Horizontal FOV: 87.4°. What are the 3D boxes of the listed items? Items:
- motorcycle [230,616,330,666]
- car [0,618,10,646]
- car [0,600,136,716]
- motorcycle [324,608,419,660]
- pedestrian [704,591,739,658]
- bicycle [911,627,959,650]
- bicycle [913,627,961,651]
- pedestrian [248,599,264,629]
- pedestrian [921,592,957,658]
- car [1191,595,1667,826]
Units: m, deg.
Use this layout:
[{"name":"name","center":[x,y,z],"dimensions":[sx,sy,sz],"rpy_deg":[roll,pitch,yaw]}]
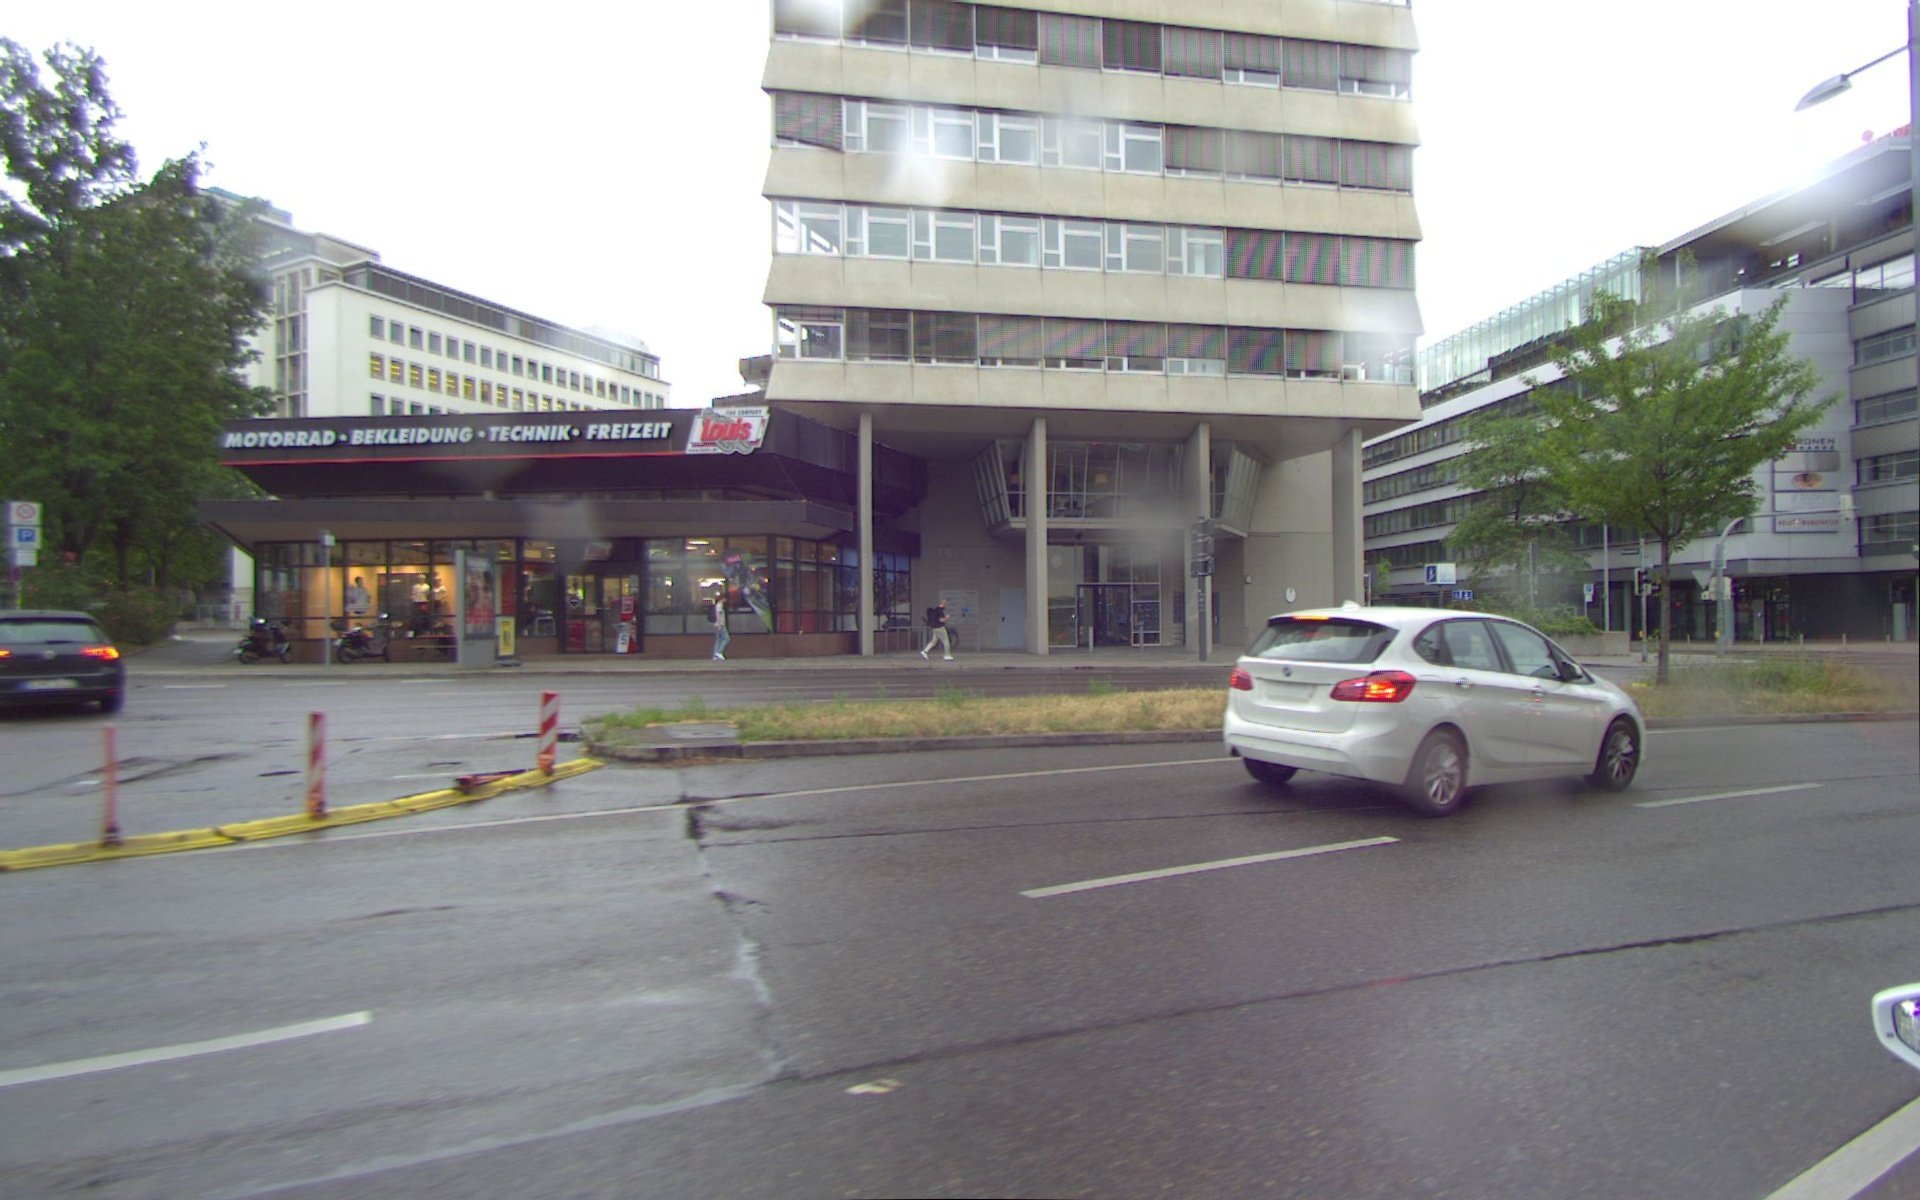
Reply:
[{"name":"motorcycle","center":[-19.793,1.156,29.329],"dimensions":[0.709,1.351,2.822],"rpy_deg":[1,0,7]},{"name":"car","center":[-46.206,1.502,46.843],"dimensions":[1.826,1.305,3.968],"rpy_deg":[2,-1,-30]},{"name":"car","center":[-13.677,0.749,14.655],"dimensions":[4.620,1.470,1.835],"rpy_deg":[0,-1,41]},{"name":"motorcycle","center":[-16.871,0.951,28.895],"dimensions":[0.788,1.392,2.894],"rpy_deg":[1,0,6]},{"name":"pedestrian","center":[-6.722,0.683,28.379],"dimensions":[0.908,1.857,0.818],"rpy_deg":[1,-1,-11]},{"name":"bicycle","center":[-0.937,1.445,37.781],"dimensions":[1.741,0.823,0.454],"rpy_deg":[1,0,-9]},{"name":"bicycle","center":[-0.853,1.441,37.196],"dimensions":[1.741,0.823,0.454],"rpy_deg":[1,0,-9]},{"name":"pedestrian","center":[-45.048,0.897,64.300],"dimensions":[0.721,1.948,0.917],"rpy_deg":[1,0,-30]},{"name":"pedestrian","center":[-0.609,0.727,29.100],"dimensions":[0.908,1.857,0.728],"rpy_deg":[1,-1,-11]},{"name":"car","center":[4.209,0.811,8.833],"dimensions":[4.239,1.594,1.774],"rpy_deg":[1,-1,-31]}]
